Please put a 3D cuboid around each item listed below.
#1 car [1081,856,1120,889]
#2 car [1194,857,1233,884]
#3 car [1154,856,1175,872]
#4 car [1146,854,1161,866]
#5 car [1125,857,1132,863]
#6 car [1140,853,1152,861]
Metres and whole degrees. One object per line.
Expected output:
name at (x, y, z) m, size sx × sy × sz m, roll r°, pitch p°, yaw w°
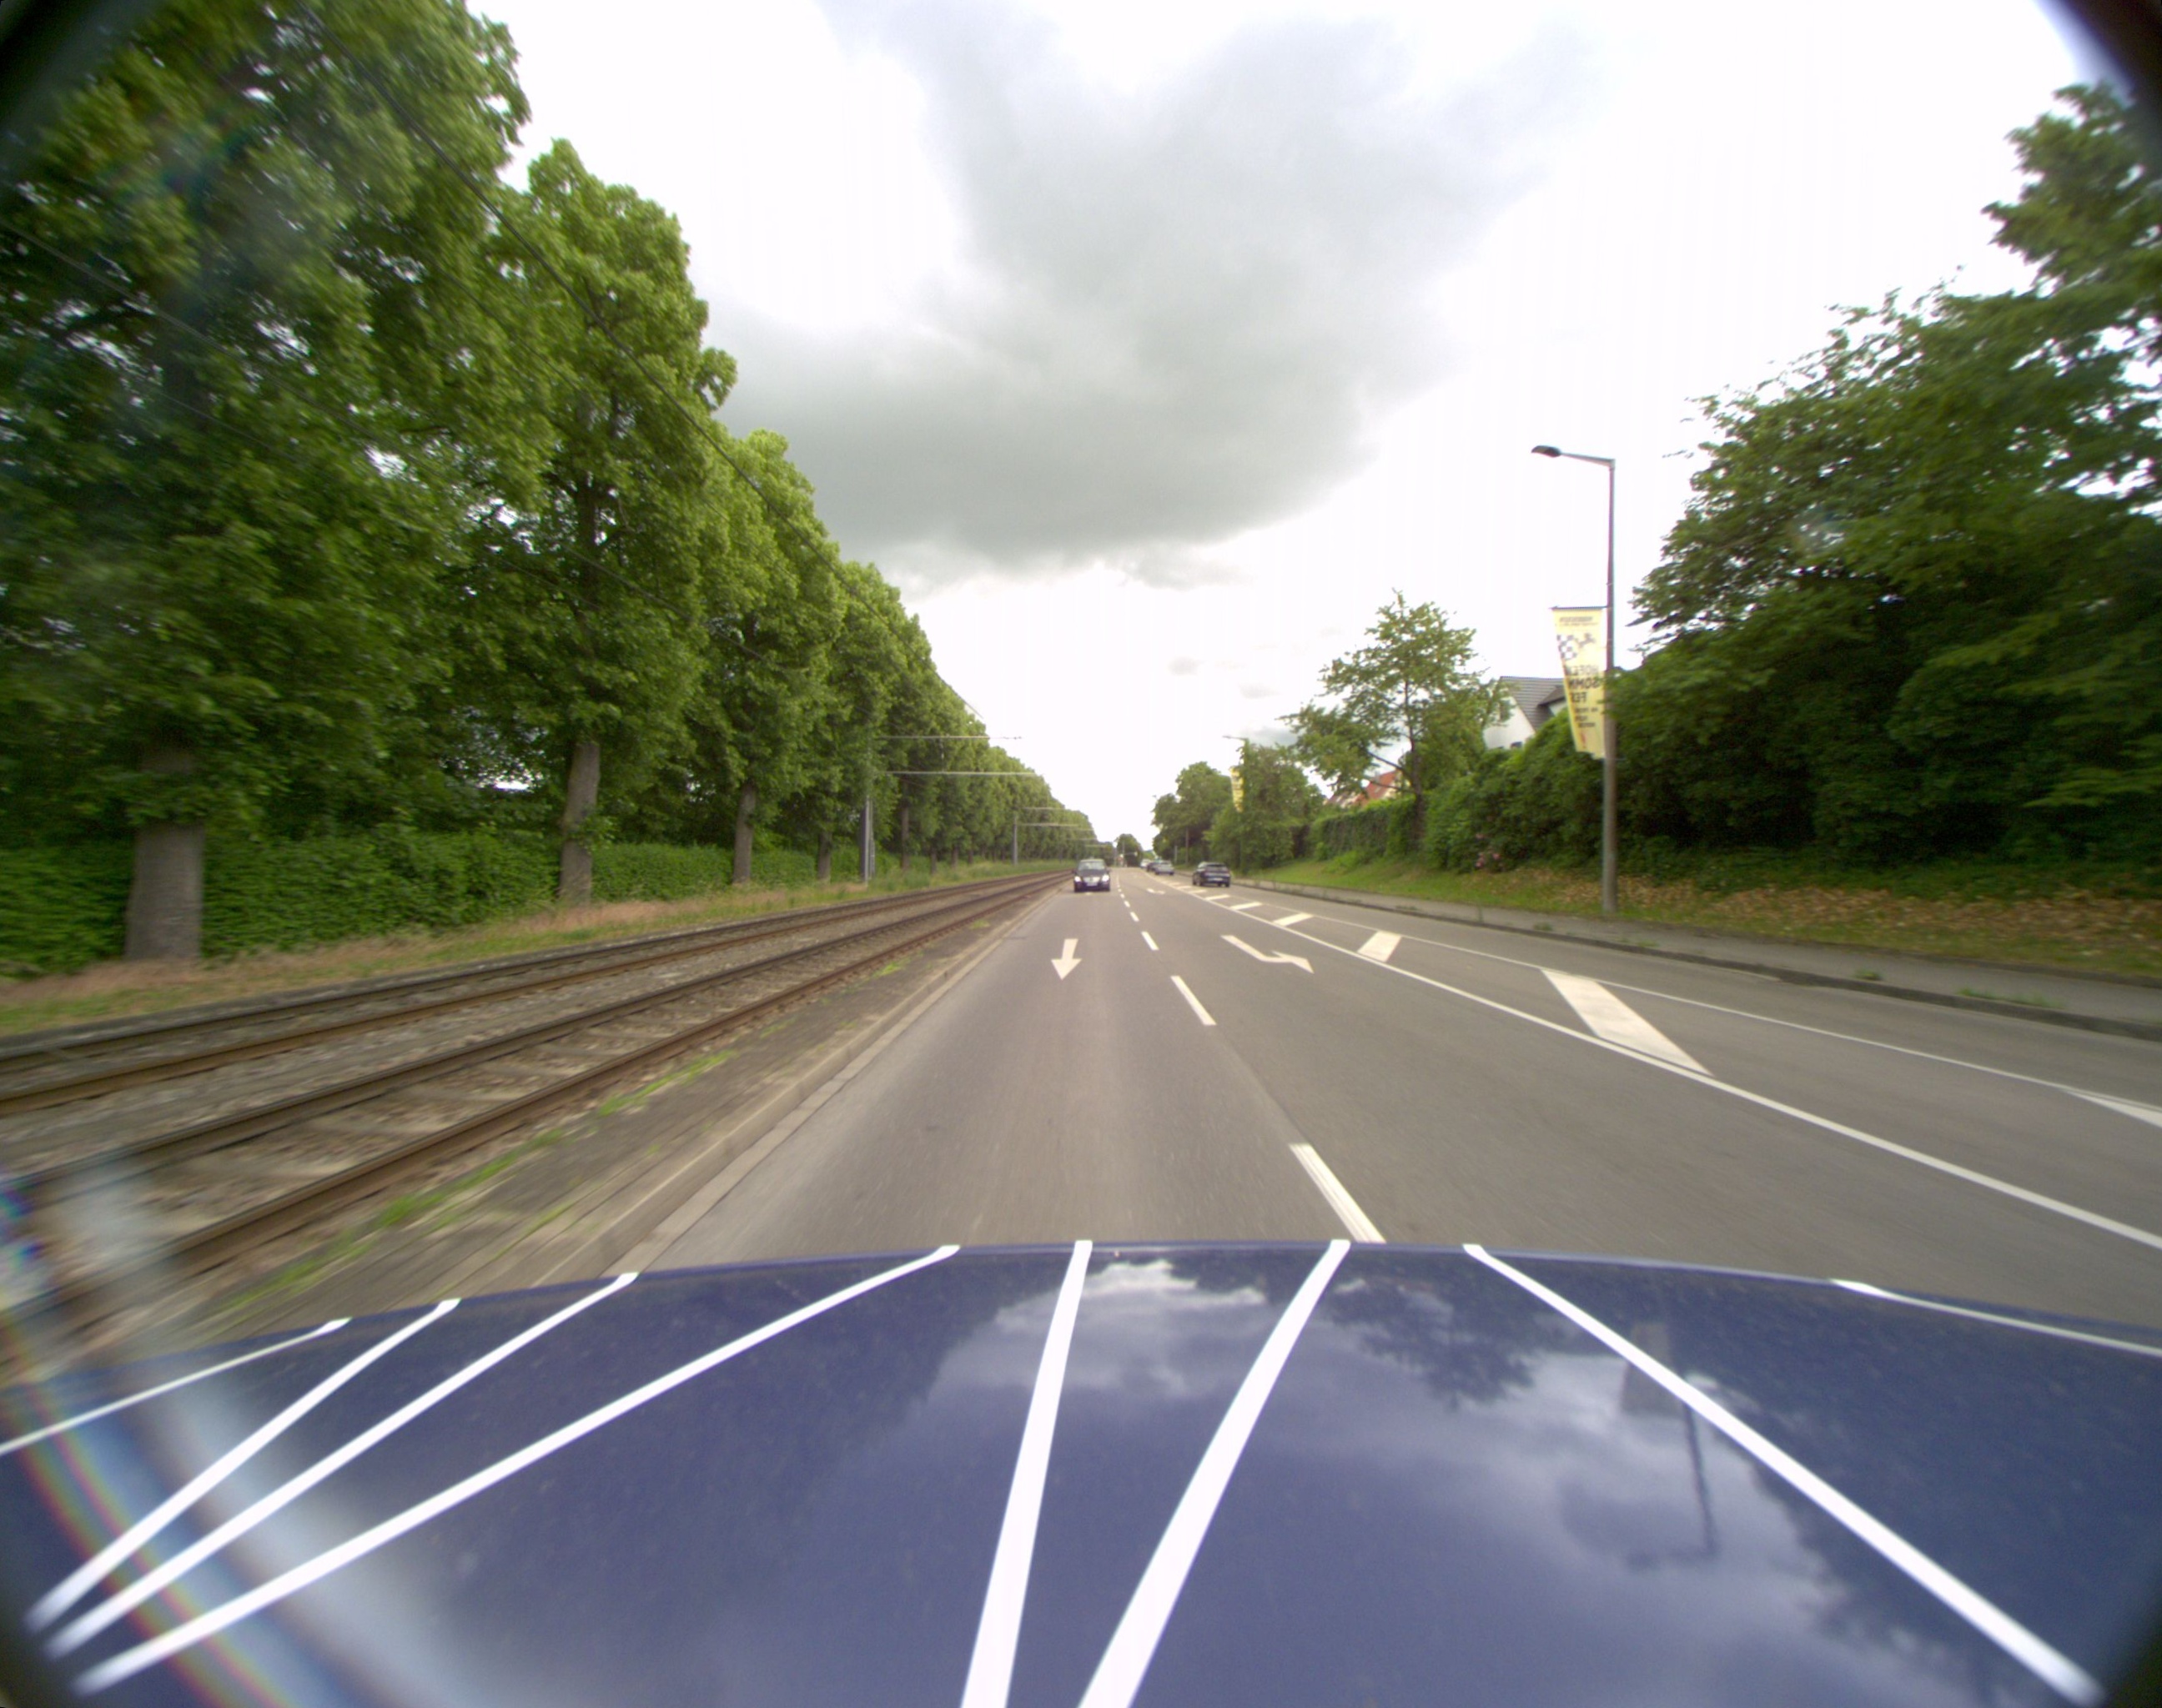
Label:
car at (0.961, 0.884, 38.330) m, size 1.808 × 1.520 × 3.928 m, roll -2°, pitch 1°, yaw 1°
car at (7.793, 0.940, 45.019) m, size 1.658 × 1.414 × 4.008 m, roll 2°, pitch 1°, yaw 1°
car at (8.806, 1.039, 80.435) m, size 1.808 × 1.520 × 3.928 m, roll -2°, pitch 1°, yaw 1°
car at (9.649, 0.761, 101.041) m, size 1.653 × 1.418 × 3.928 m, roll -2°, pitch 1°, yaw 1°
car at (15.111, 1.991, 242.102) m, size 1.808 × 1.778 × 3.928 m, roll -2°, pitch 1°, yaw 1°
car at (11.306, 0.504, 132.646) m, size 1.745 × 1.453 × 3.840 m, roll -2°, pitch 1°, yaw 1°
